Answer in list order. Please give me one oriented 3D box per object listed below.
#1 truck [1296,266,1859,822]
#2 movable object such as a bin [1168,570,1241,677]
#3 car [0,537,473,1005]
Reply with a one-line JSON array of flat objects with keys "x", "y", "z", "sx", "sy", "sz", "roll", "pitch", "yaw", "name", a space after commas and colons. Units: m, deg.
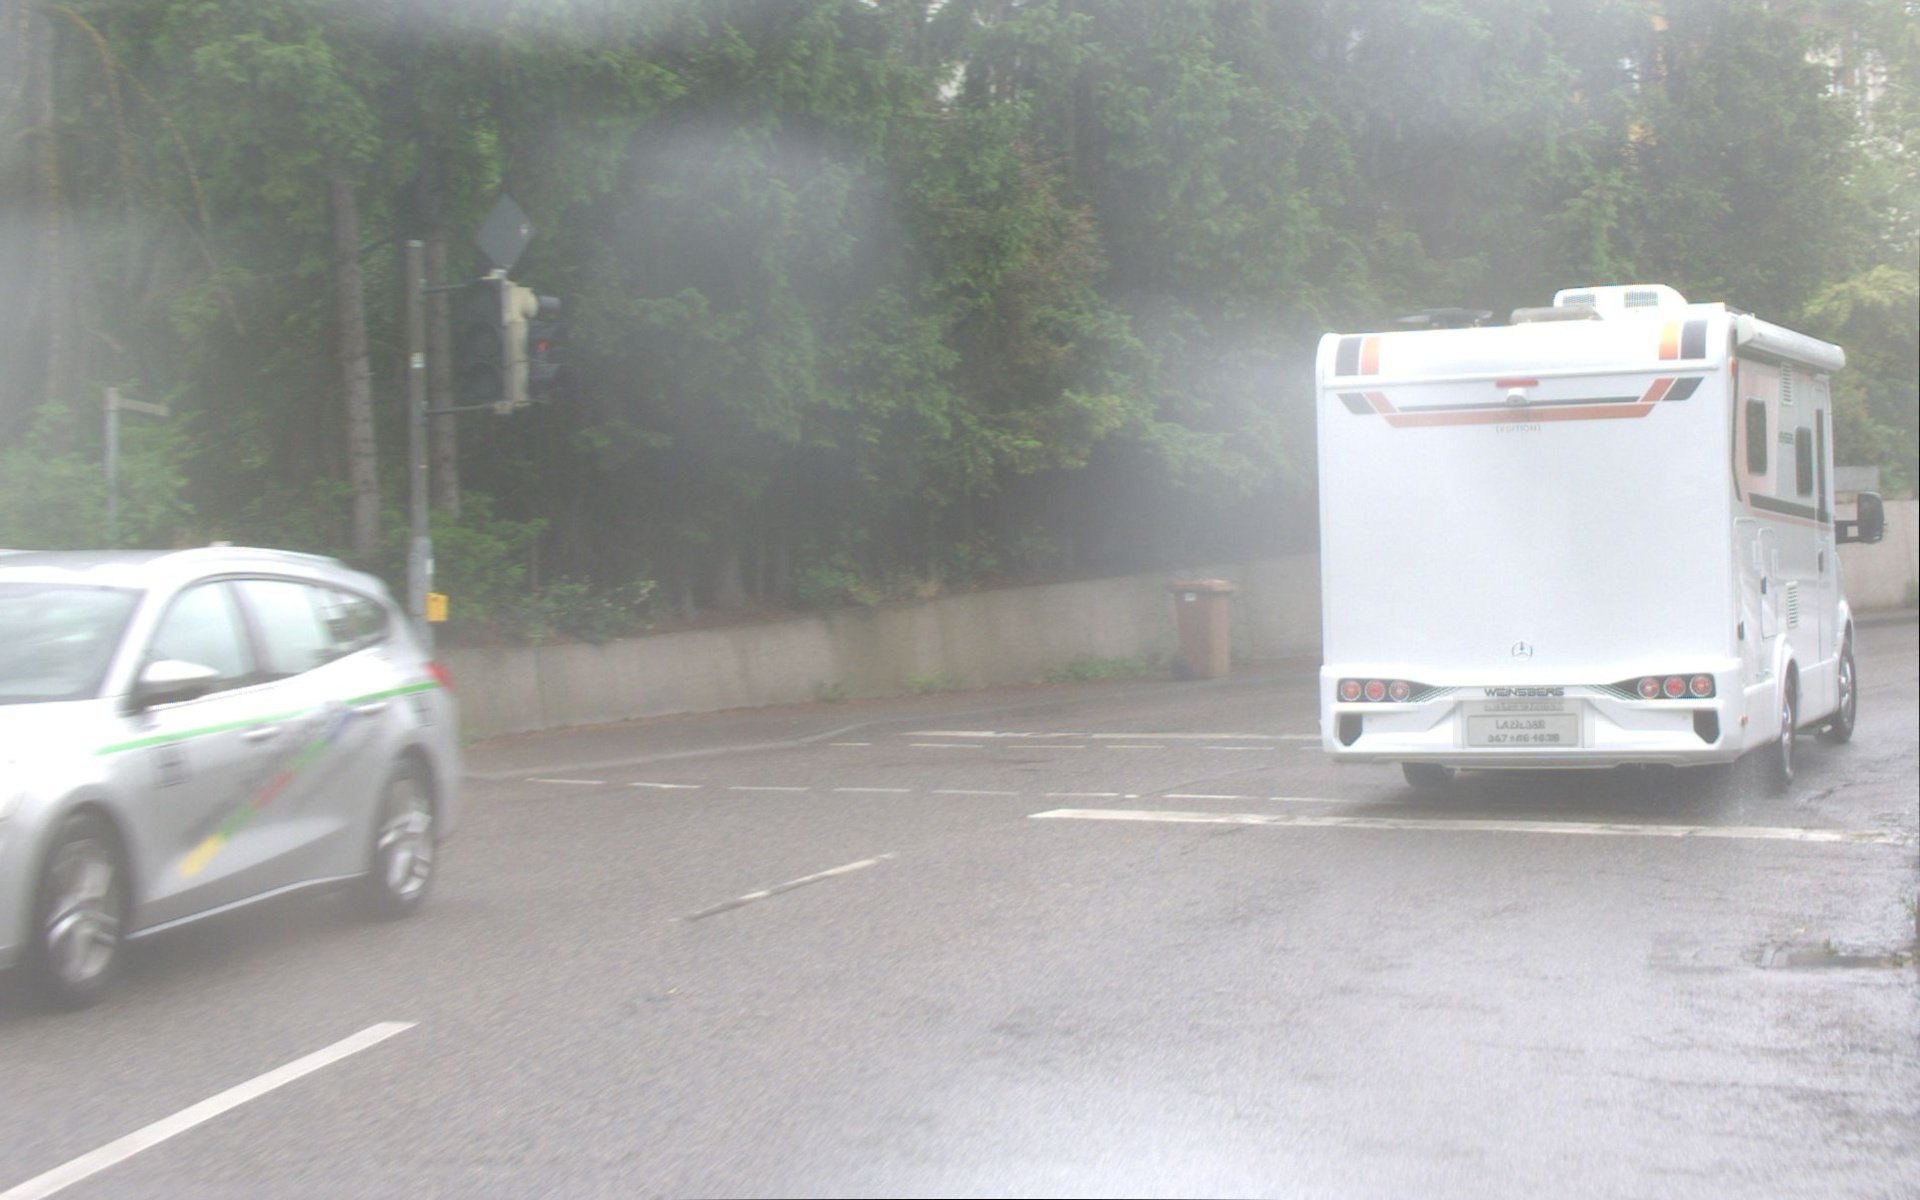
[{"x": 3.926, "y": -0.356, "z": 20.682, "sx": 2.517, "sy": 2.808, "sz": 6.196, "roll": 0, "pitch": 1, "yaw": 18, "name": "truck"}, {"x": 2.279, "y": 0.214, "z": 32.044, "sx": 0.501, "sy": 0.976, "sz": 0.489, "roll": 1, "pitch": 2, "yaw": 33, "name": "movable object such as a bin"}, {"x": -3.260, "y": 0.487, "z": 12.195, "sx": 1.596, "sy": 1.408, "sz": 4.234, "roll": 1, "pitch": 1, "yaw": 13, "name": "car"}]
